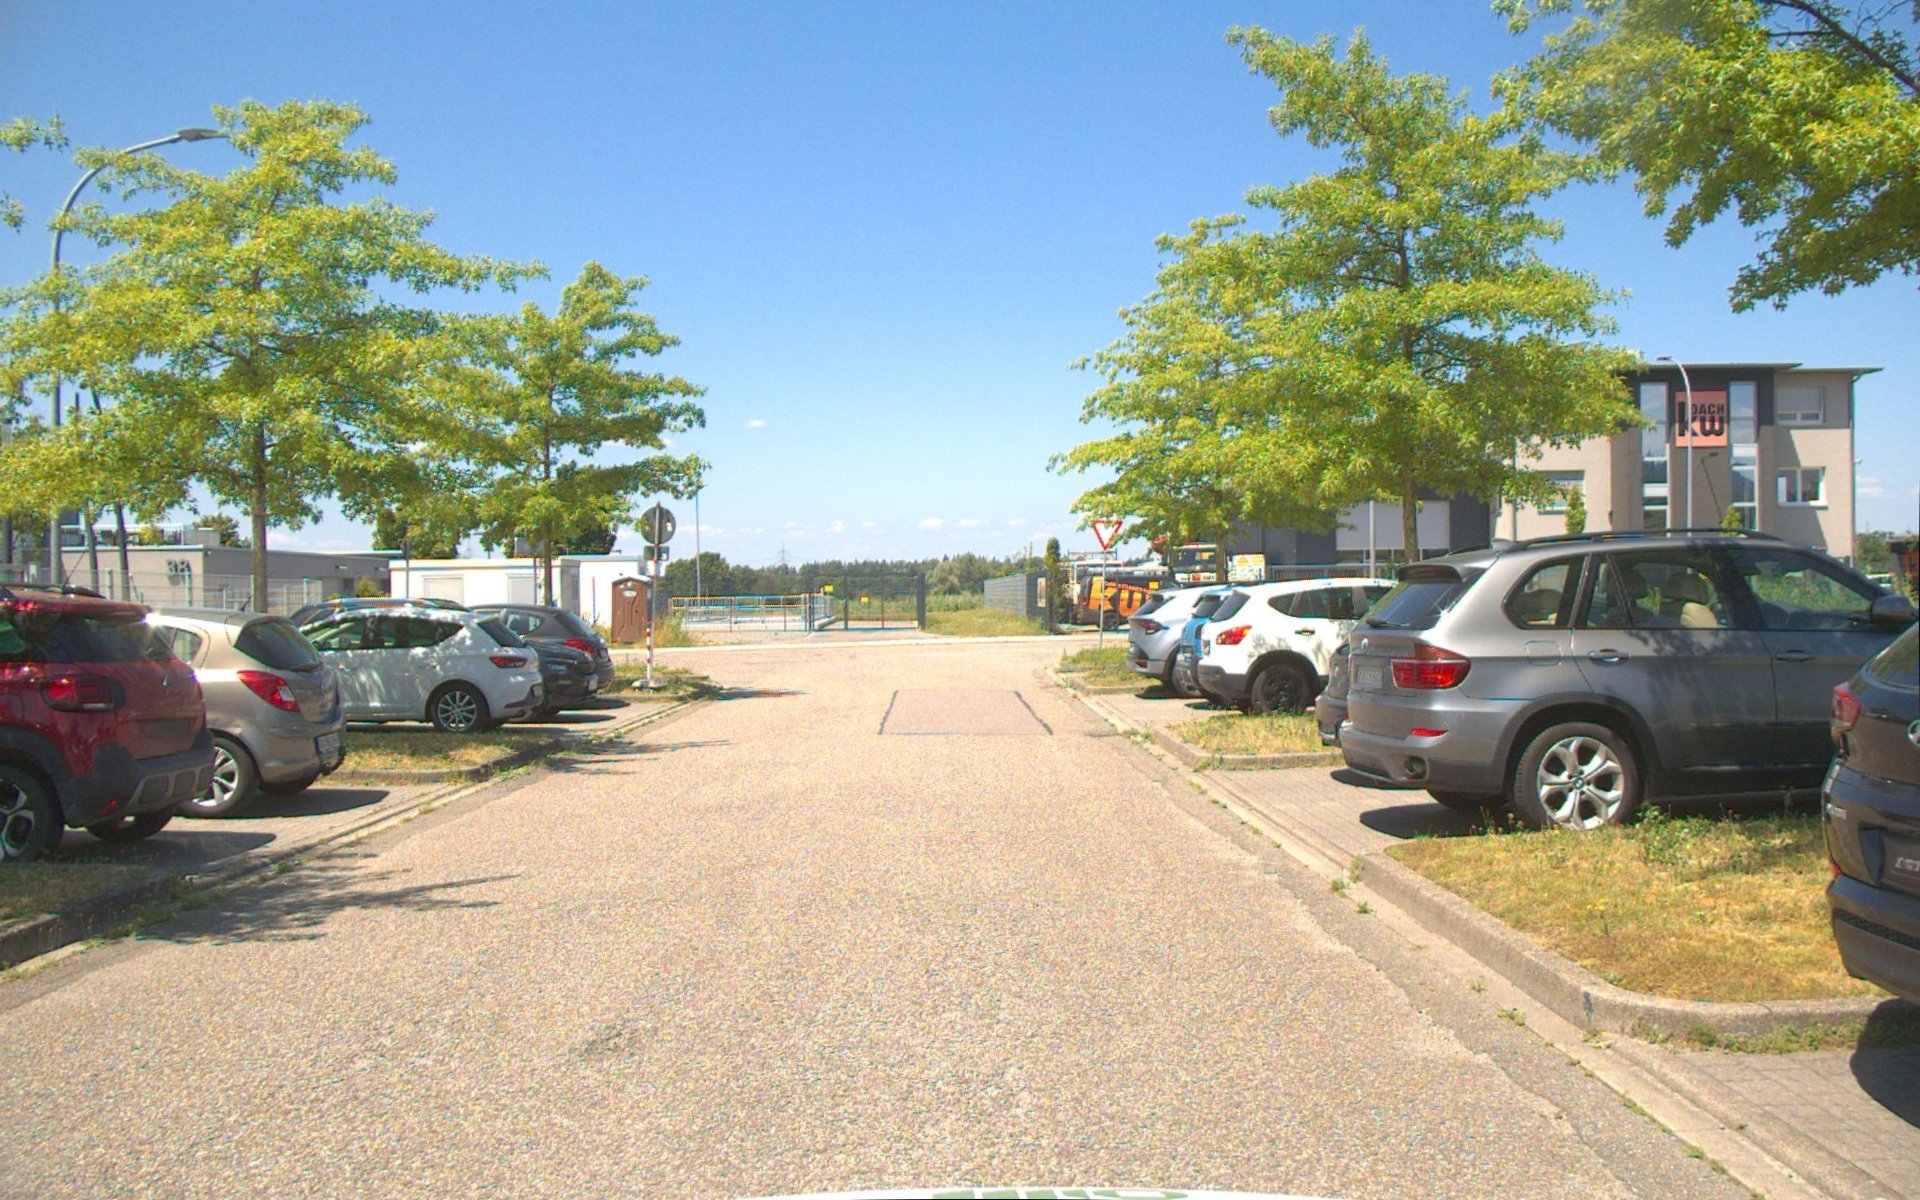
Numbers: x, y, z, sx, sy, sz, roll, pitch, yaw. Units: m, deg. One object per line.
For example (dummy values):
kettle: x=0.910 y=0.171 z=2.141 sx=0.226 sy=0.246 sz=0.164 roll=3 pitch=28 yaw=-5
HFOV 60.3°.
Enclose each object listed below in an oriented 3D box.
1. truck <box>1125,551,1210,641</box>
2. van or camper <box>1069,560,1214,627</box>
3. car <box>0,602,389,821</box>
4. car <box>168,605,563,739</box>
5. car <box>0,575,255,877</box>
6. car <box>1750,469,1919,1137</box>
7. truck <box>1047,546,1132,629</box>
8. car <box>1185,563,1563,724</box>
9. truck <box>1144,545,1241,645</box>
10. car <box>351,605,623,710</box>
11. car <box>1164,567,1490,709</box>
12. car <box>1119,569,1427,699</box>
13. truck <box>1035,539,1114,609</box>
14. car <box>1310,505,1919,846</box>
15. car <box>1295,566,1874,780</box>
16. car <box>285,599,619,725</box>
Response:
truck: x=9.738 y=-0.211 z=78.346 sx=2.862 sy=3.997 sz=6.934 roll=-1 pitch=0 yaw=-2
van or camper: x=6.343 y=-0.253 z=58.140 sx=4.836 sy=2.201 sz=2.000 roll=-2 pitch=1 yaw=-2
car: x=-6.431 y=0.796 z=12.597 sx=3.585 sy=1.535 sz=1.729 roll=0 pitch=0 yaw=-5
car: x=-6.868 y=0.815 z=19.474 sx=3.995 sy=1.449 sz=1.872 roll=1 pitch=0 yaw=-5
car: x=-6.487 y=0.675 z=9.981 sx=3.661 sy=1.650 sz=1.816 roll=0 pitch=0 yaw=0
car: x=4.497 y=0.430 z=4.199 sx=4.090 sy=1.726 sz=1.781 roll=-3 pitch=0 yaw=-2
truck: x=5.177 y=-0.502 z=67.202 sx=2.671 sy=3.115 sz=6.934 roll=-1 pitch=0 yaw=-2
car: x=4.826 y=0.499 z=19.725 sx=3.985 sy=1.636 sz=1.901 roll=-3 pitch=-1 yaw=0
truck: x=9.788 y=-0.229 z=70.333 sx=2.862 sy=3.997 sz=6.934 roll=-1 pitch=0 yaw=-2
car: x=-6.905 y=0.827 z=24.434 sx=3.553 sy=1.461 sz=1.725 roll=1 pitch=0 yaw=-4
car: x=4.861 y=0.484 z=22.273 sx=3.907 sy=1.673 sz=1.837 roll=-2 pitch=0 yaw=-2
car: x=4.599 y=0.480 z=24.747 sx=4.192 sy=1.673 sz=1.850 roll=-3 pitch=0 yaw=-1
truck: x=5.161 y=-1.154 z=75.719 sx=2.862 sy=2.989 sz=6.934 roll=-1 pitch=0 yaw=-2
car: x=4.664 y=0.387 z=10.512 sx=4.361 sy=1.799 sz=1.992 roll=-3 pitch=0 yaw=-3
car: x=4.817 y=0.549 z=13.176 sx=3.843 sy=1.434 sz=1.909 roll=-2 pitch=-1 yaw=-1
car: x=-6.572 y=0.780 z=21.740 sx=3.849 sy=1.547 sz=1.784 roll=1 pitch=0 yaw=-4
